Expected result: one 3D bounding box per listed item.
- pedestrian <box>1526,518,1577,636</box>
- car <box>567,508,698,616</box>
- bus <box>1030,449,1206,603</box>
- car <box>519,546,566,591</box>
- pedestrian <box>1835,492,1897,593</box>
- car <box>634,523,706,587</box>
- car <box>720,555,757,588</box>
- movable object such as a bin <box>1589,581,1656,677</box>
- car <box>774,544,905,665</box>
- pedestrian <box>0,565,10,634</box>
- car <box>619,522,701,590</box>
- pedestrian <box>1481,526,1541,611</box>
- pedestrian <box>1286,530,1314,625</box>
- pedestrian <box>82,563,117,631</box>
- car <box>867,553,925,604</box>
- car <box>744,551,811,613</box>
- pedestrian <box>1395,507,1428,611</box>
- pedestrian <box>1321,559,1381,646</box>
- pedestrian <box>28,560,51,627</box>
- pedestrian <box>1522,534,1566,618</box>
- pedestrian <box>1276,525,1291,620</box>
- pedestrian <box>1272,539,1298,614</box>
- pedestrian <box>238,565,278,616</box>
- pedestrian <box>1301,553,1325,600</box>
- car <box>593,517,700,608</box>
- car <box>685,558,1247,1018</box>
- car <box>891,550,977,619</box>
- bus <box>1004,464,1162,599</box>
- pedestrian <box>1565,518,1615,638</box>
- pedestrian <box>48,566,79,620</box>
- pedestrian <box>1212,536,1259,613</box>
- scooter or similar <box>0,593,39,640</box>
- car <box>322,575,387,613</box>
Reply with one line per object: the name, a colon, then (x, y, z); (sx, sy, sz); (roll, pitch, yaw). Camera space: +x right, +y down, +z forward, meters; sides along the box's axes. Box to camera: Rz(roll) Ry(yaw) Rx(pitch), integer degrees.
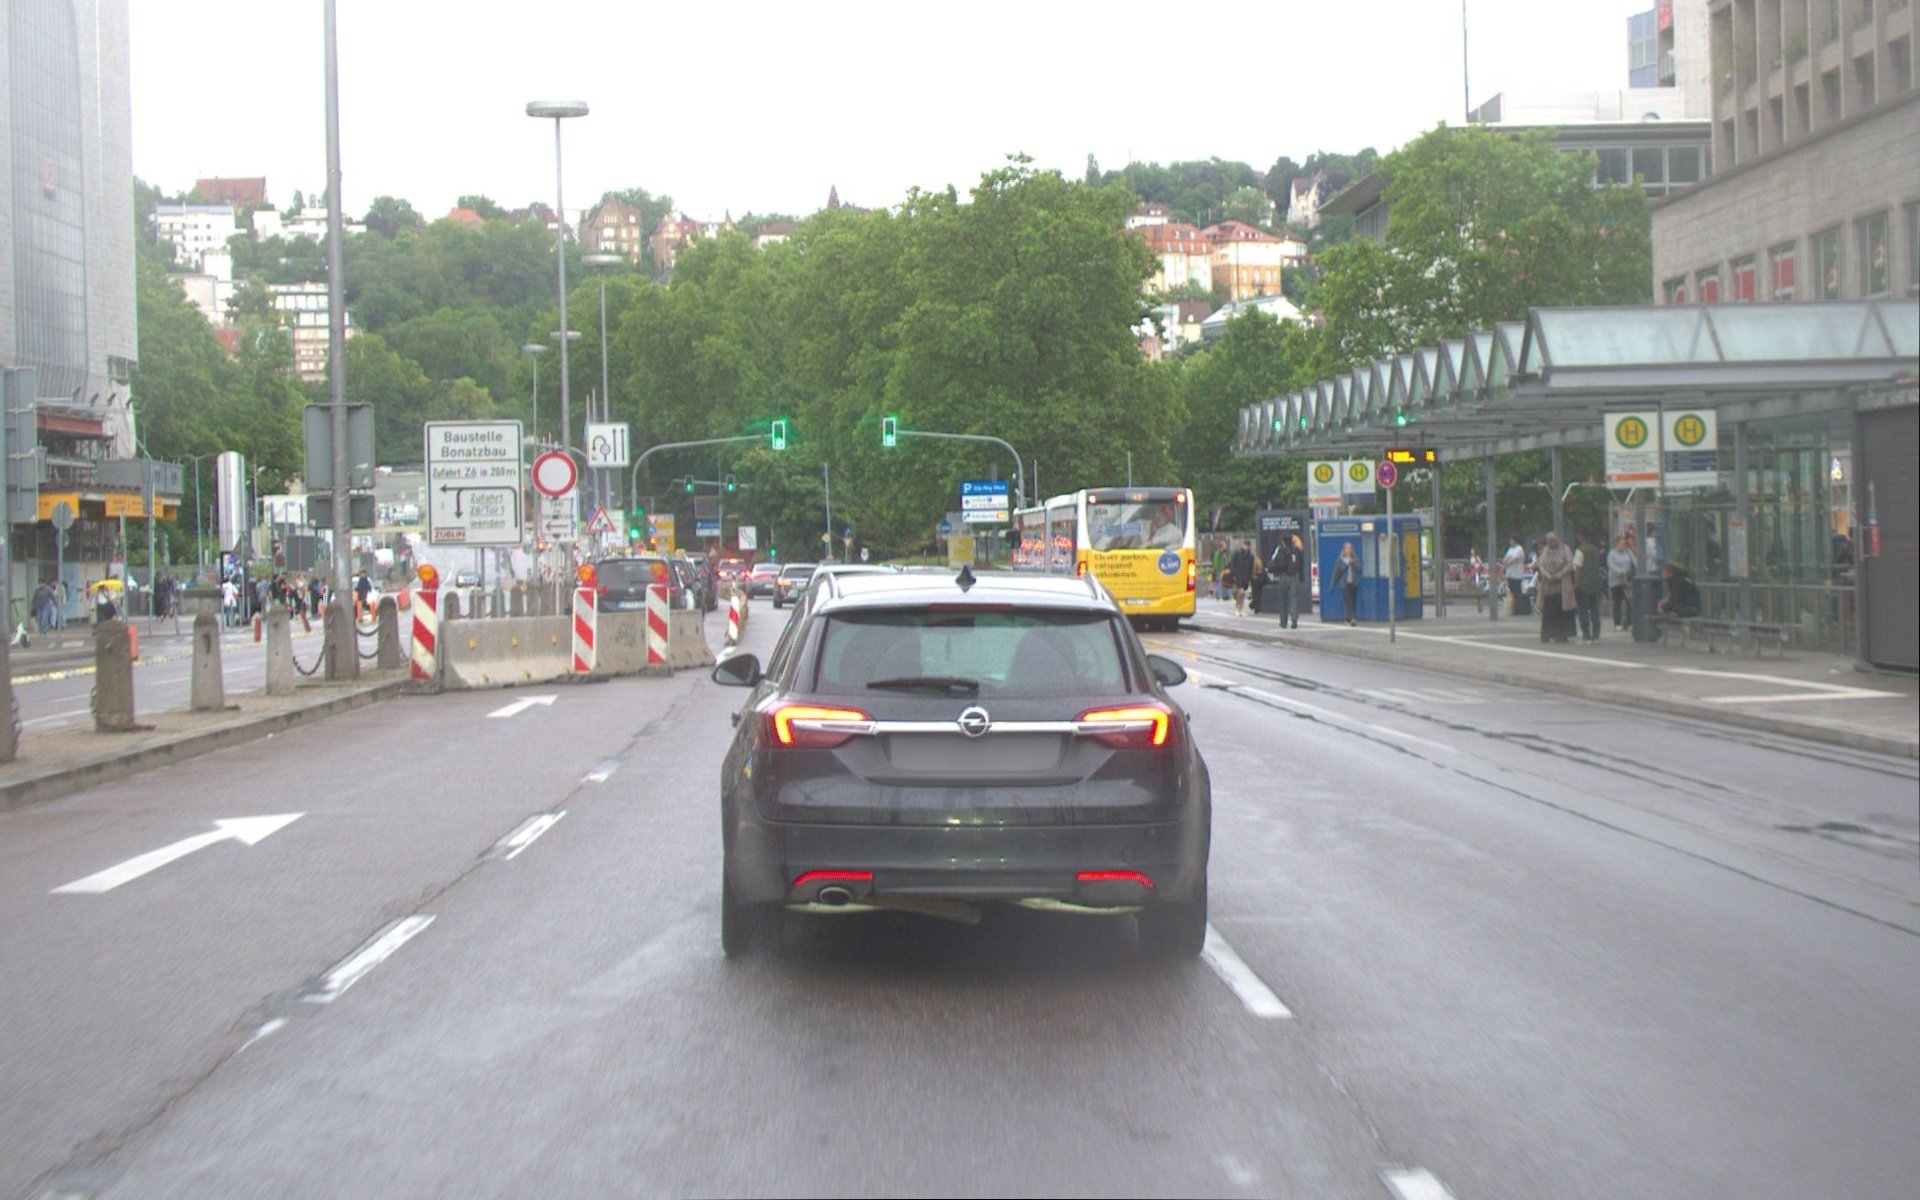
pedestrian: (9.316, -0.367, 54.167); (0.675, 1.830, 0.574); (-1, 1, 0)
car: (-5.968, -0.707, 63.078); (1.993, 1.856, 4.833); (-1, 1, -1)
bus: (3.419, -1.610, 76.976); (3.141, 3.236, 9.136); (0, 1, -2)
car: (-18.904, -1.445, 155.637); (1.993, 2.007, 5.371); (0, 1, -8)
pedestrian: (16.540, -1.058, 62.763); (0.759, 1.824, 0.753); (-1, 1, -31)
car: (-8.434, -1.315, 100.023); (1.993, 1.781, 4.455); (-2, 1, -5)
car: (-11.205, -1.429, 173.758); (1.706, 1.660, 3.706); (0, 1, -1)
movable object such as a bin: (11.640, 0.504, 60.418); (0.662, 1.646, 1.049); (-1, 1, -25)
car: (-1.760, 0.029, 50.752); (1.830, 1.680, 4.134); (-1, 1, -1)
pedestrian: (-25.820, -0.010, 91.265); (0.839, 1.834, 1.058); (-1, 1, 1)
car: (-7.700, -1.143, 88.531); (1.993, 1.648, 4.642); (-2, 1, -4)
pedestrian: (11.850, -0.682, 73.918); (0.786, 1.798, 0.992); (-2, 1, -31)
pedestrian: (6.613, -0.440, 66.861); (0.347, 1.830, 0.532); (0, 1, 25)
pedestrian: (-23.541, -0.096, 94.045); (0.875, 1.834, 0.839); (-1, 1, -16)
car: (-2.014, -0.682, 106.965); (1.674, 1.576, 3.240); (0, 1, -3)
car: (-6.033, -0.605, 113.121); (1.983, 2.007, 4.370); (0, 1, -6)
pedestrian: (9.584, -0.872, 72.950); (0.590, 2.207, 0.587); (-1, 1, 0)
pedestrian: (7.685, 0.049, 67.567); (0.759, 1.684, 0.999); (-1, 1, -23)
pedestrian: (-25.320, -0.182, 94.553); (0.570, 1.834, 0.705); (-1, 1, -16)
pedestrian: (11.993, -0.500, 70.582); (0.748, 1.689, 0.902); (-1, 1, 1)
pedestrian: (6.315, -0.539, 67.136); (0.243, 1.830, 0.512); (-1, 1, 1)
pedestrian: (7.997, -0.591, 84.650); (0.565, 1.830, 0.569); (-1, 1, 1)
pedestrian: (-25.610, -0.348, 125.390); (0.984, 1.834, 1.040); (-1, 1, 18)
pedestrian: (9.283, -0.624, 90.400); (0.514, 1.228, 0.770); (-1, 1, 0)
car: (-6.216, -0.765, 68.669); (1.993, 1.700, 4.833); (-2, 1, -4)
car: (-0.020, 0.603, 14.022); (1.877, 1.503, 4.852); (-1, 1, -1)
car: (-0.684, -0.397, 86.976); (1.851, 1.711, 4.001); (0, 1, -5)
bus: (2.972, -1.674, 86.136); (3.113, 3.194, 9.243); (0, 1, -3)
pedestrian: (9.712, -0.344, 52.995); (0.627, 1.830, 0.641); (-1, 1, 0)
pedestrian: (-26.998, -0.203, 103.555); (0.676, 1.608, 0.839); (-1, 1, 0)
pedestrian: (6.615, -0.625, 82.479); (0.985, 1.830, 0.835); (0, 1, 14)
scooter or similar: (-21.879, 0.383, 79.290); (0.459, 1.062, 1.238); (0, 1, 32)
car: (-23.707, -0.247, 134.722); (1.993, 1.463, 4.000); (0, 1, -3)
